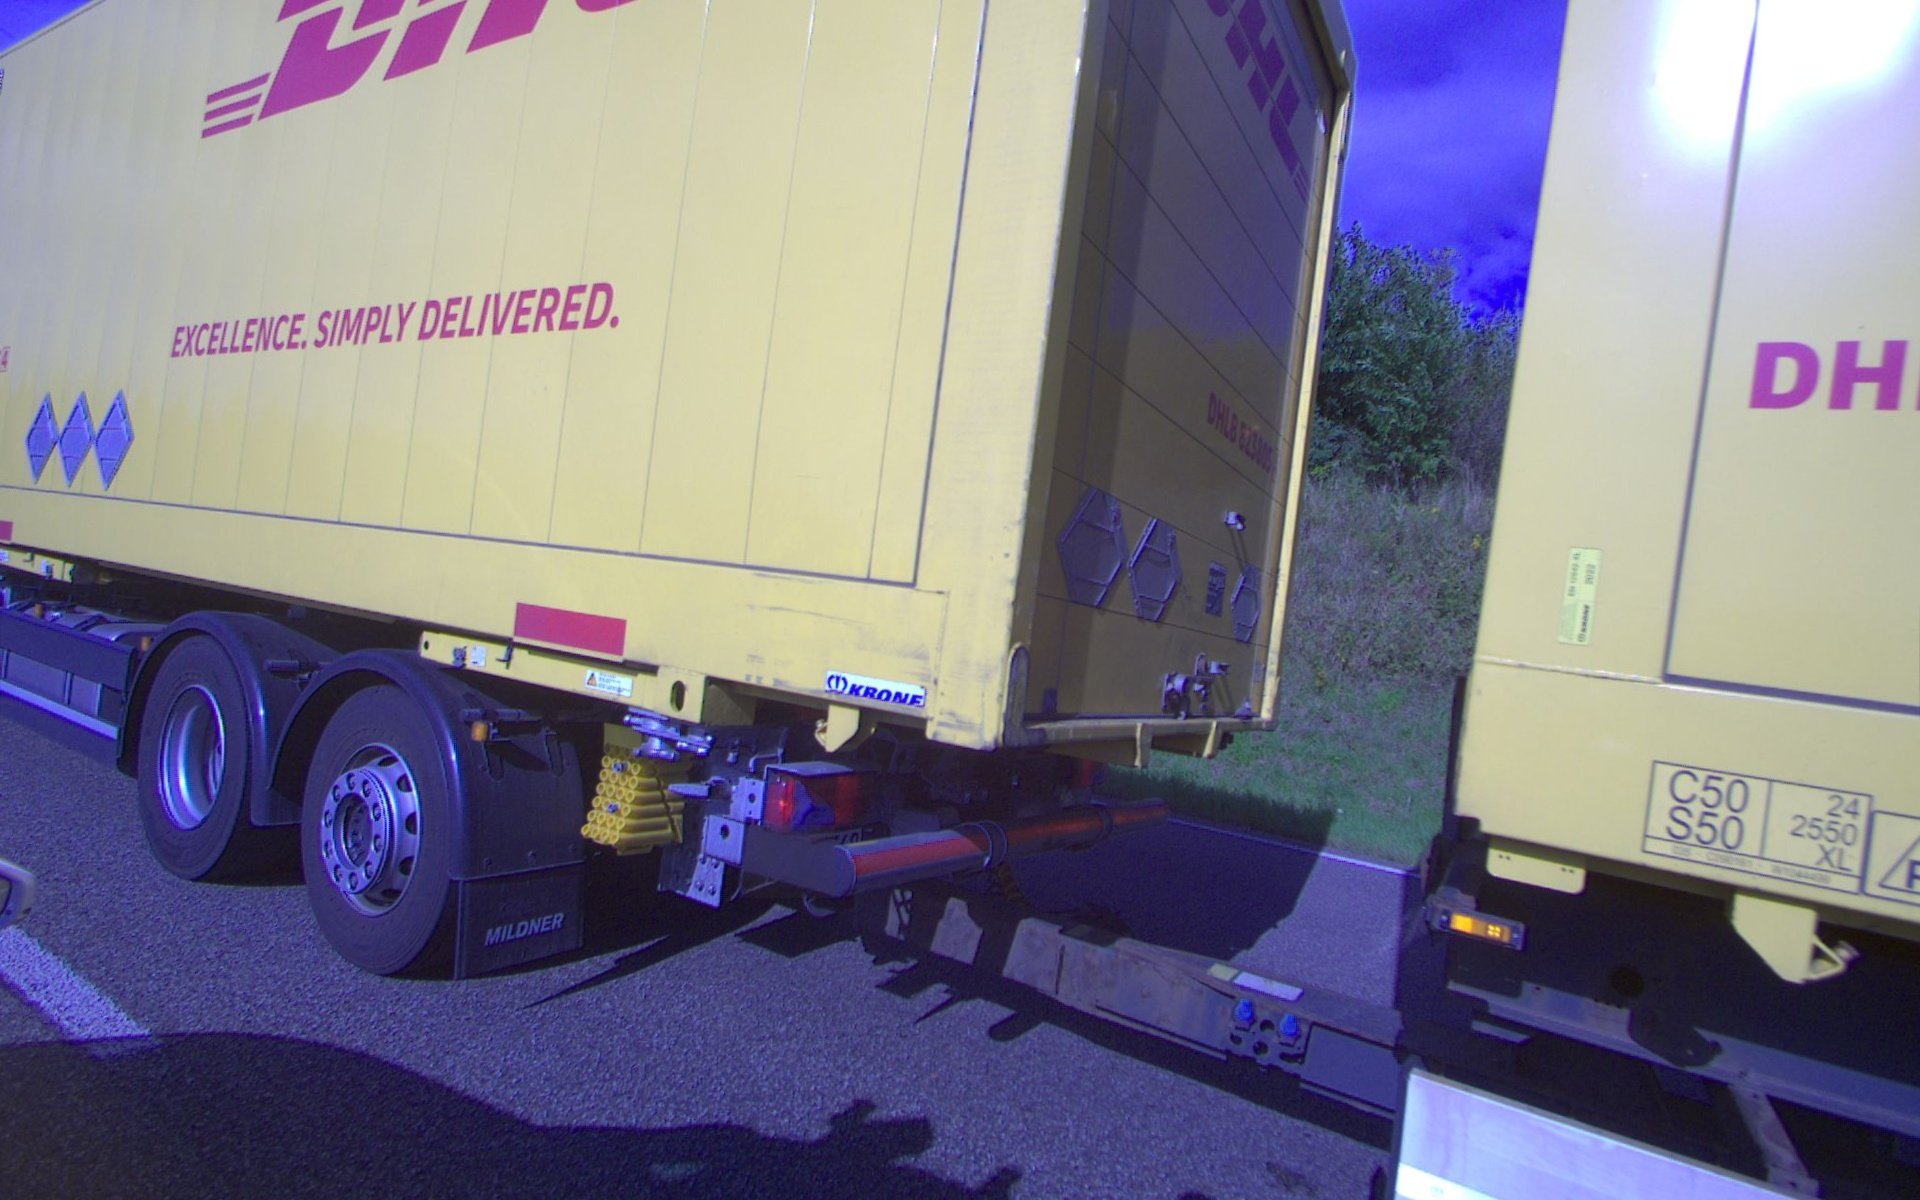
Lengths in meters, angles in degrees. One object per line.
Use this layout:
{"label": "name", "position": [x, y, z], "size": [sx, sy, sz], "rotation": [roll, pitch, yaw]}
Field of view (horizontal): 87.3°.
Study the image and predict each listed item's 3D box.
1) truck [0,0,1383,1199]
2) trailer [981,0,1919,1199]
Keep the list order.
{"label": "truck", "position": [-3.151, -0.972, 5.583], "size": [9.503, 4.116, 2.416], "rotation": [7, -1, 32]}
{"label": "trailer", "position": [4.602, -0.022, 0.813], "size": [8.778, 4.116, 2.416], "rotation": [7, -1, 32]}
